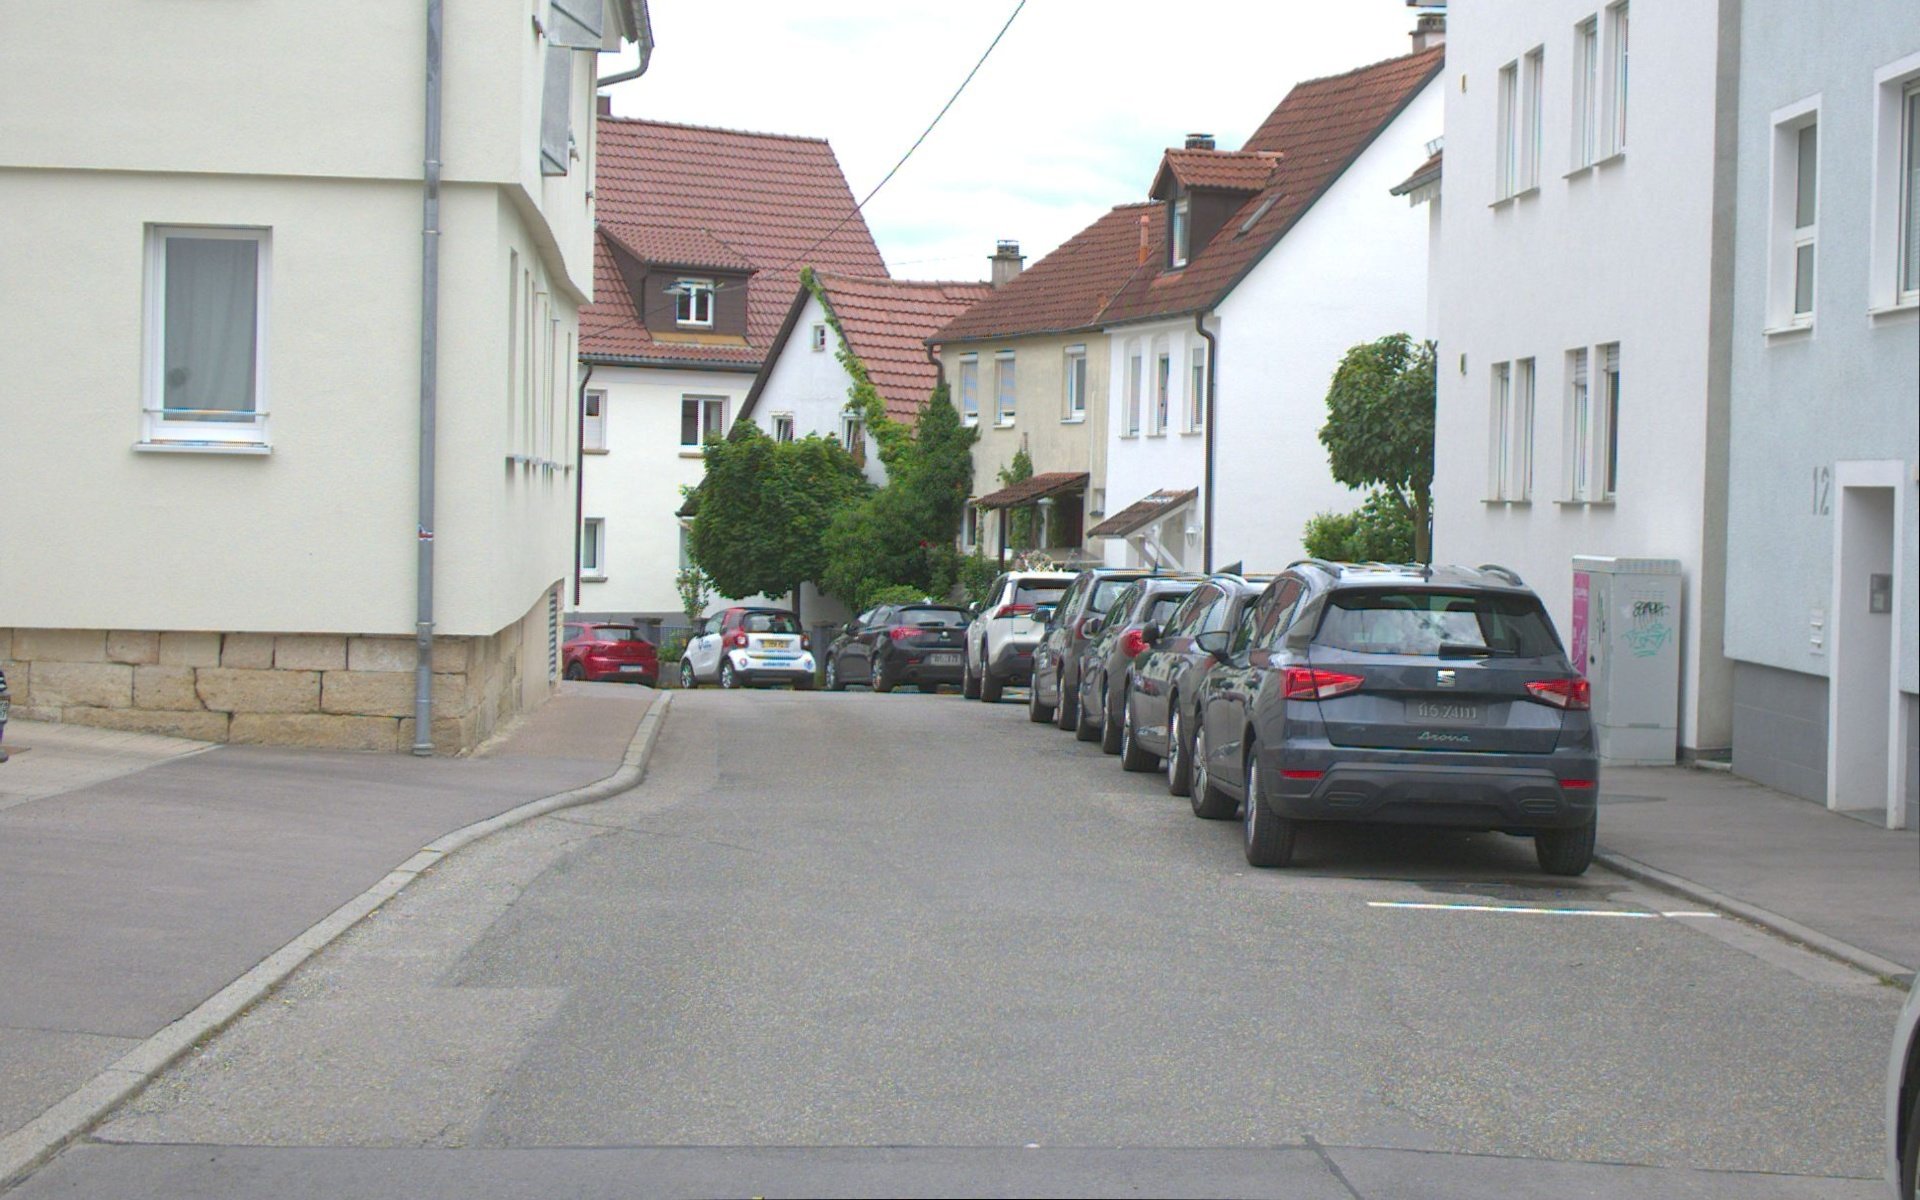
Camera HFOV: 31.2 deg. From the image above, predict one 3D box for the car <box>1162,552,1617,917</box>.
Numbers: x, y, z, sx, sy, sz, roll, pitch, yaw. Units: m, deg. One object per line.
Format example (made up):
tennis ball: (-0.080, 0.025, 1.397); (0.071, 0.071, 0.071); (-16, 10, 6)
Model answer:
car: (2.154, 0.604, 18.442); (1.753, 1.622, 4.535); (3, 1, -1)

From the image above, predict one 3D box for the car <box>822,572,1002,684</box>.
car: (-0.803, 0.479, 54.447); (1.993, 1.707, 4.001); (0, -2, -14)

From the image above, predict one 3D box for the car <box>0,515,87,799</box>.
car: (-6.594, 0.158, 17.284); (3.731, 1.407, 2.120); (4, -1, 3)

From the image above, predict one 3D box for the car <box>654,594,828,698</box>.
car: (-4.065, 0.820, 63.248); (1.962, 1.707, 4.001); (1, 1, -22)

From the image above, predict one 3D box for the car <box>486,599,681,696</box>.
car: (-7.542, 0.961, 68.624); (1.994, 1.678, 3.999); (-5, 1, -36)

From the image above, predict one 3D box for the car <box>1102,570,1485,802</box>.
car: (2.119, 0.499, 23.168); (1.918, 1.405, 4.656); (0, 0, -3)

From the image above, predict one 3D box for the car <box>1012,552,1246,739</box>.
car: (1.594, 0.422, 33.720); (1.736, 1.605, 4.000); (4, 0, -4)

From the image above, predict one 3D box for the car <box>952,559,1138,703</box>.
car: (1.028, 0.382, 43.766); (1.873, 1.707, 4.148); (1, 0, -5)

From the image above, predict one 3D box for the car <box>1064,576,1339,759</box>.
car: (1.911, 0.529, 28.337); (1.796, 1.347, 4.075); (2, 0, -2)

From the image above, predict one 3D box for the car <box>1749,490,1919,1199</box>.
car: (2.822, 0.665, 5.277); (1.993, 1.610, 4.879); (3, 1, 0)
